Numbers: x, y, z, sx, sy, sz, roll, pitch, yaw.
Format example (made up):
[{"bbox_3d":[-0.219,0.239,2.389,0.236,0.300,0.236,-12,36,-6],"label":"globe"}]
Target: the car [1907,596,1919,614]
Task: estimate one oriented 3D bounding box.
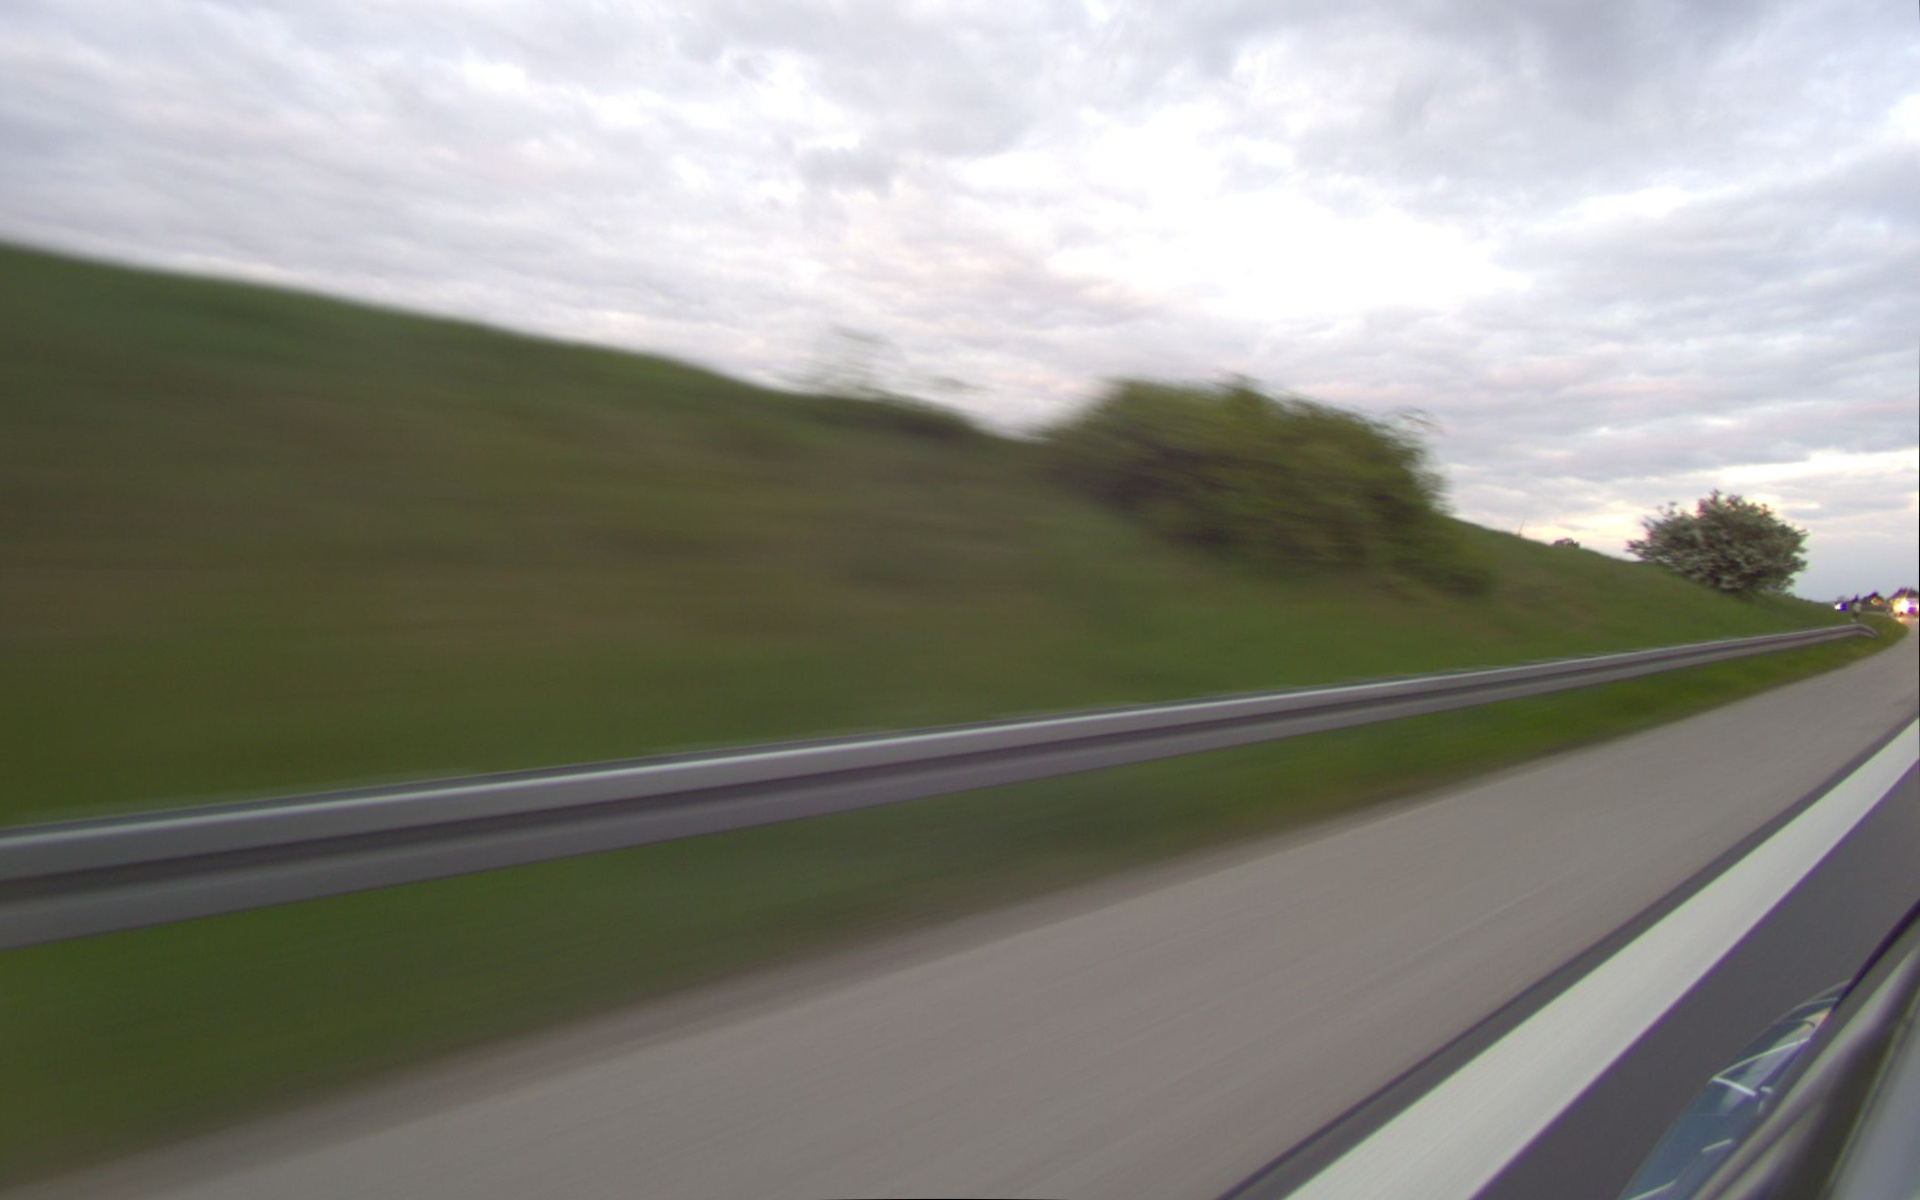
[{"bbox_3d":[99.169,0.558,104.381,1.914,1.860,3.940,3,2,41],"label":"car"}]
